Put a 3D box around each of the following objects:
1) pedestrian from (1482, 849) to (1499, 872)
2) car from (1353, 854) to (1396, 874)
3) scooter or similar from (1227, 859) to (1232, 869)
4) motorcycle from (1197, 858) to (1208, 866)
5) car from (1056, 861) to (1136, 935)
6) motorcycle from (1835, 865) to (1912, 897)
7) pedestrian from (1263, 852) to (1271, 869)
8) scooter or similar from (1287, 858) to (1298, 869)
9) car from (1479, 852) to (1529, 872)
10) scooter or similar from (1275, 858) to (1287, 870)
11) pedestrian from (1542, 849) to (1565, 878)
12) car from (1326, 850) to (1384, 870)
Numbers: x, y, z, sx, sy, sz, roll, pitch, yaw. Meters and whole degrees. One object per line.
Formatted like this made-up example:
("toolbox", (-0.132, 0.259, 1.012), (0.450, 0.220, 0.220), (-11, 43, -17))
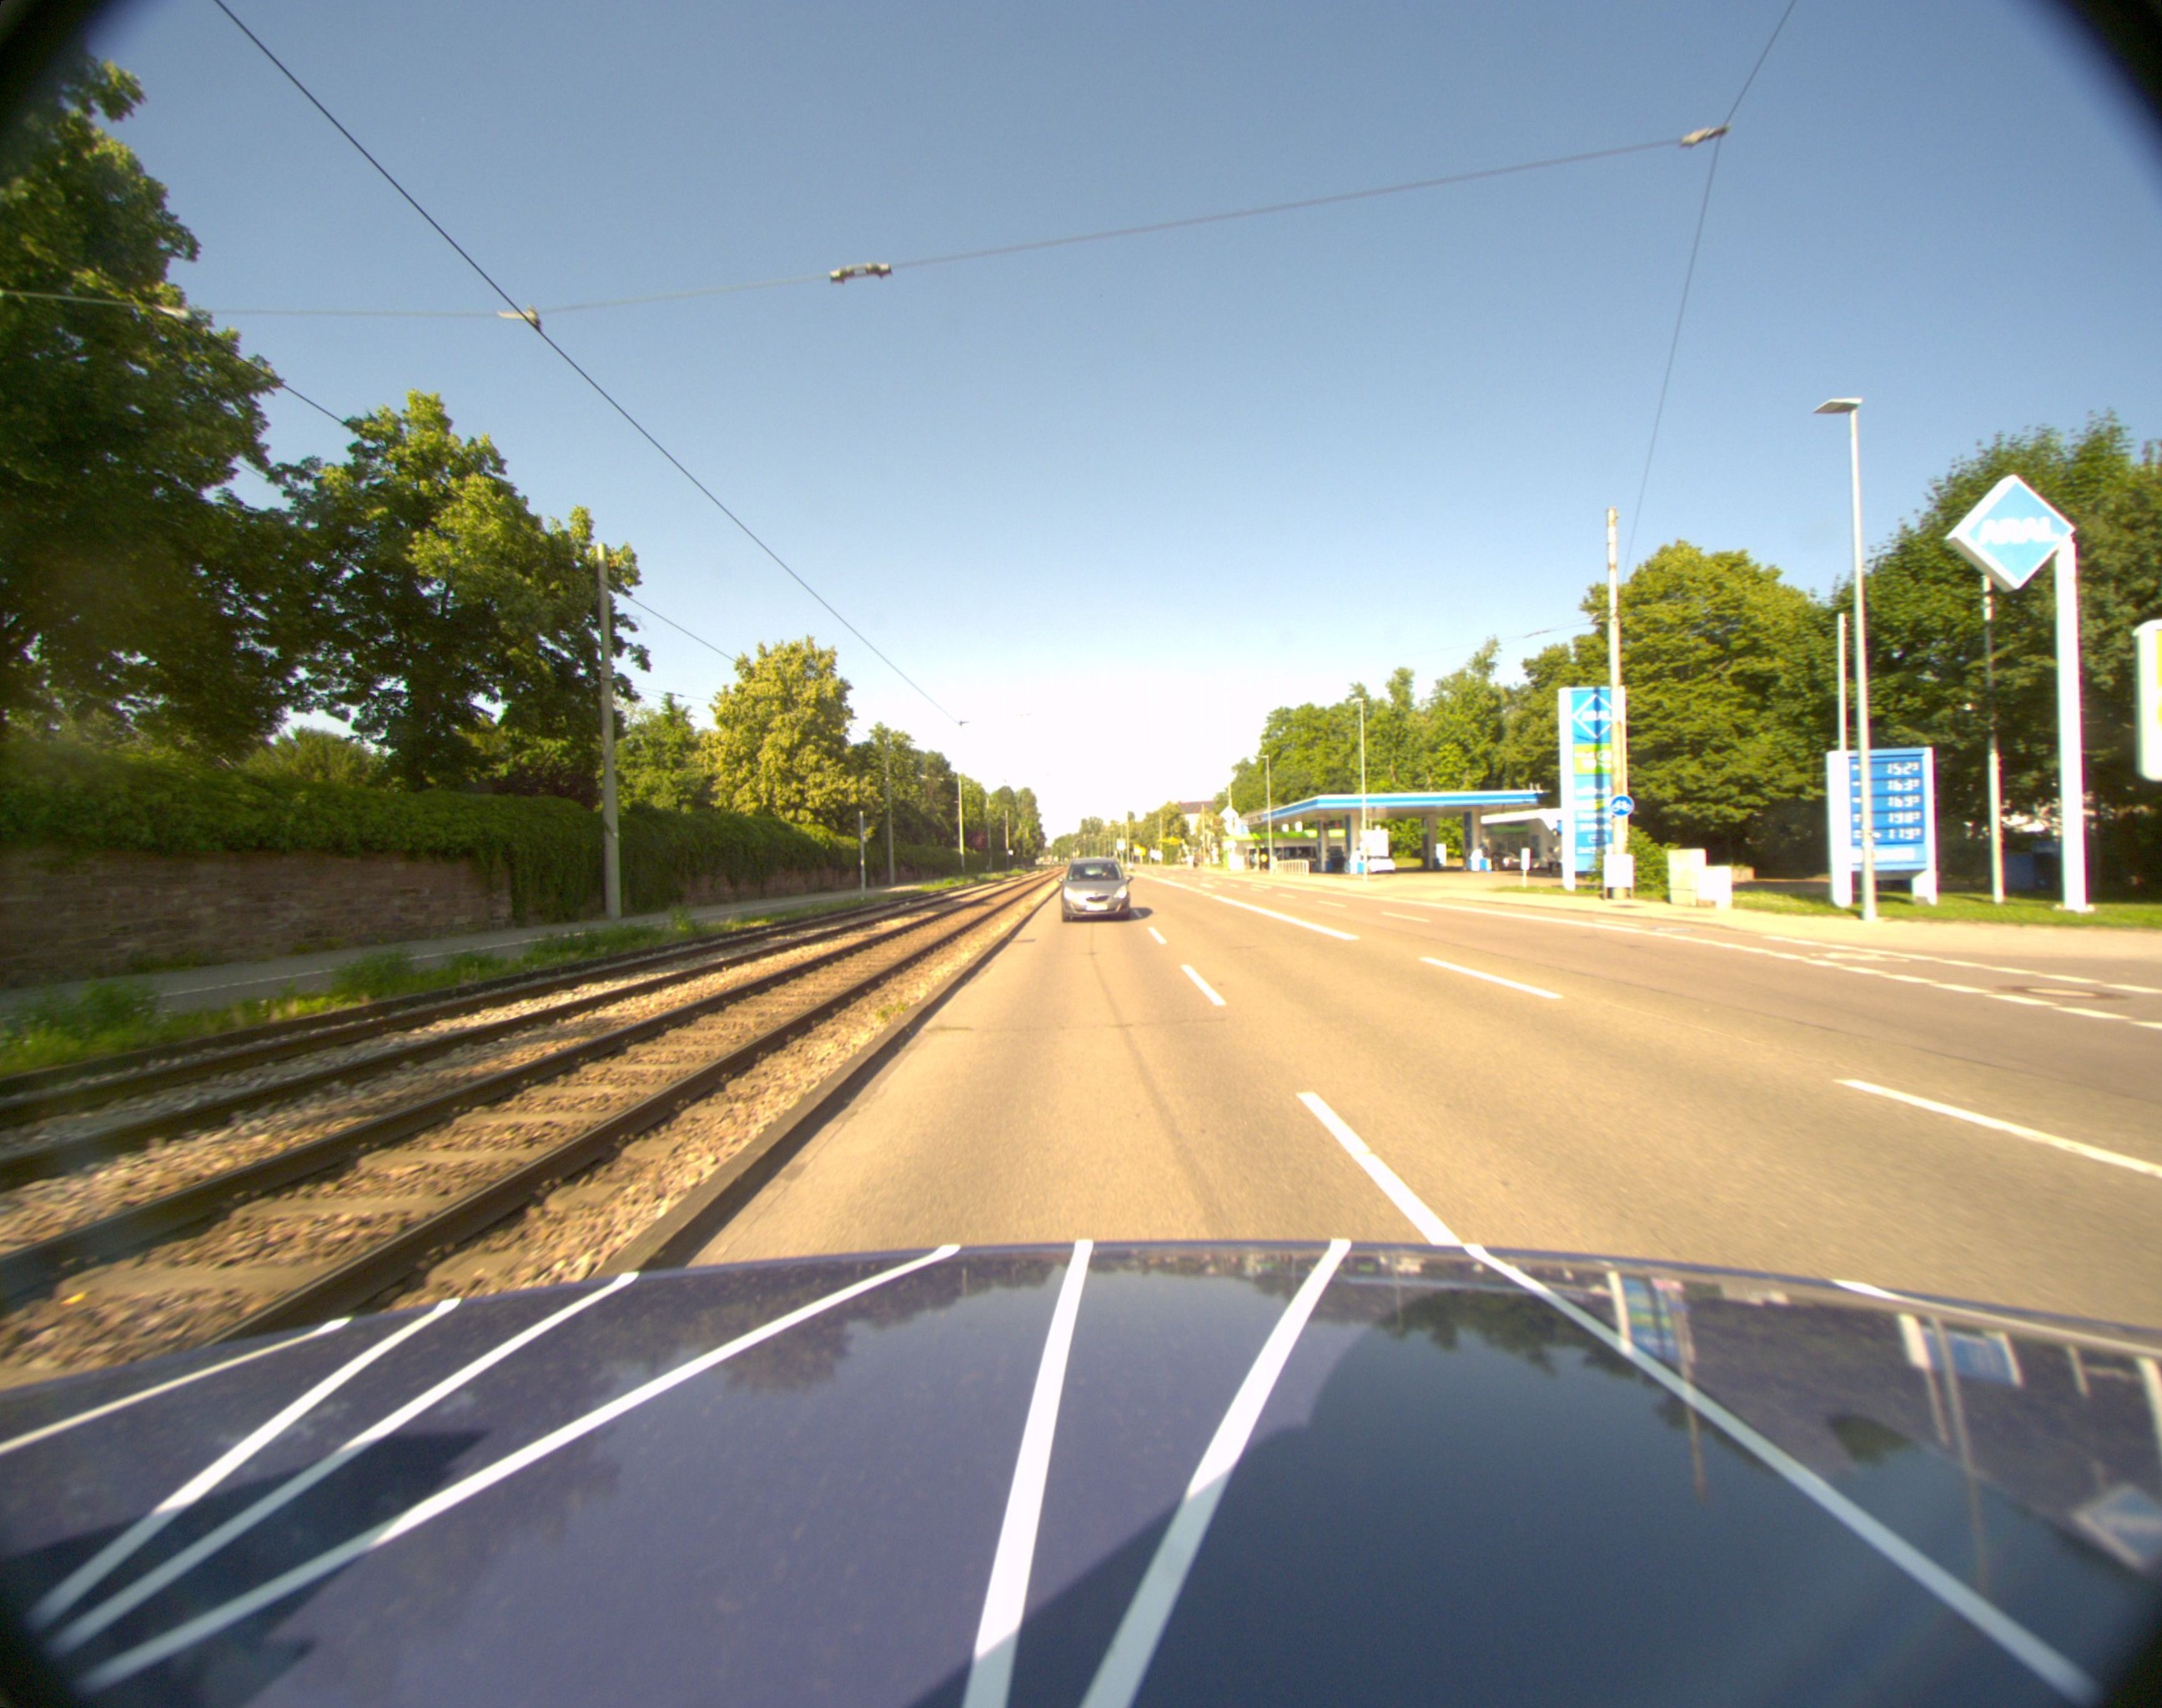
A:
("pedestrian", (30.704, 0.460, 56.920), (0.818, 1.680, 0.795), (-1, 0, 0))
("car", (22.422, 0.734, 58.266), (1.741, 1.482, 4.275), (-1, 0, 1))
("scooter or similar", (17.127, 1.149, 87.593), (0.350, 1.153, 1.144), (-1, 0, 2))
("motorcycle", (19.105, 1.239, 119.487), (0.732, 1.220, 2.268), (-1, 0, 34))
("car", (0.345, 0.998, 18.687), (1.730, 1.573, 3.763), (-1, 0, 0))
("motorcycle", (25.712, 0.863, 24.688), (0.518, 0.976, 1.905), (-1, 0, 1))
("pedestrian", (19.510, 0.670, 79.874), (0.603, 1.721, 0.664), (-1, 0, 32))
("scooter or similar", (21.168, 0.985, 76.038), (1.031, 1.103, 0.350), (-1, 0, 8))
("car", (31.778, 0.591, 57.216), (1.740, 1.437, 4.001), (-1, 0, 3))
("scooter or similar", (20.051, 1.014, 76.147), (1.143, 1.110, 0.350), (-1, 0, 10))
("pedestrian", (28.674, 0.584, 46.130), (0.823, 1.702, 1.067), (-1, 0, 13))
("car", (27.037, 0.592, 75.084), (5.081, 1.929, 1.858), (-1, 0, 5))
